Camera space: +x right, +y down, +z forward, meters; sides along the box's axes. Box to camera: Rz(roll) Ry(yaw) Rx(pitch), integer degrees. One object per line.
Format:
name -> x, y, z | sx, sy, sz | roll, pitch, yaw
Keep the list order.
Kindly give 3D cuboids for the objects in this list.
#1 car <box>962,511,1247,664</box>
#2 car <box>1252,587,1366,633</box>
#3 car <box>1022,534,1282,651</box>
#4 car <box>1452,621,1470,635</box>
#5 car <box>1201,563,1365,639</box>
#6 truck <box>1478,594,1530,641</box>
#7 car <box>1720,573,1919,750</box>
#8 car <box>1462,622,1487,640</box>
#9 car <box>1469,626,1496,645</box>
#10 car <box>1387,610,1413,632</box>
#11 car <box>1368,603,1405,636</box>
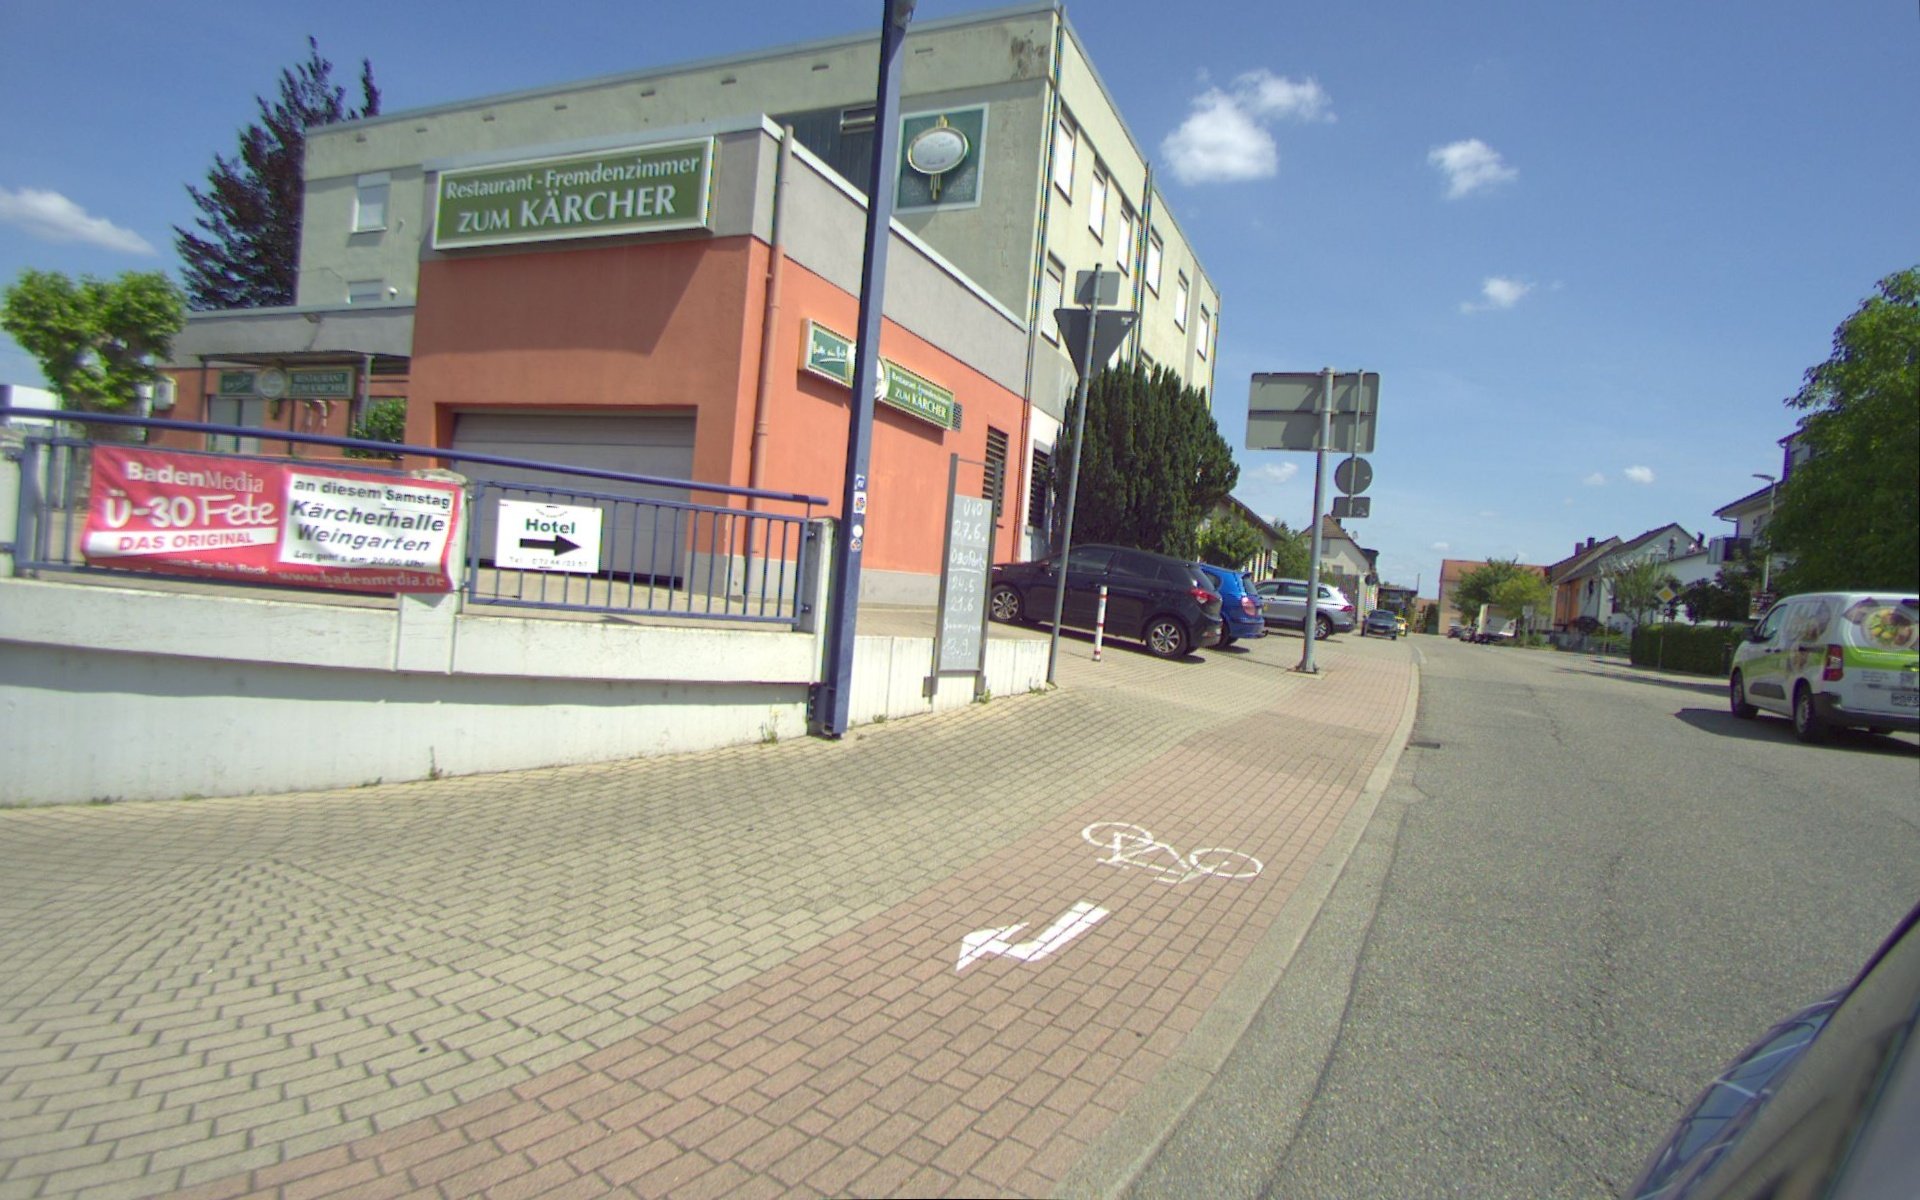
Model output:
car -> 2.229, -0.246, 15.618 | 3.871, 1.506, 1.796 | 12, 5, 23
car -> 15.386, 0.436, 44.669 | 4.497, 1.471, 1.901 | 7, 2, 25
car -> 3.506, -0.199, 18.597 | 4.294, 1.456, 1.766 | 9, 5, 24
car -> 63.161, 3.465, 127.649 | 1.704, 1.518, 4.181 | 8, 2, 23
car -> 9.693, 0.017, 30.365 | 4.421, 1.717, 1.908 | 7, 2, 23
truck -> 43.541, 1.421, 81.232 | 2.419, 3.284, 6.984 | 9, 2, 21
car -> 11.467, 0.689, 12.932 | 1.799, 1.878, 4.520 | 3, 1, 25
car -> 50.939, 3.086, 100.206 | 1.704, 1.518, 4.181 | 8, 2, 23
car -> 48.590, 3.267, 94.154 | 1.704, 1.518, 4.181 | 8, 2, 23
car -> 34.807, 1.691, 80.055 | 1.705, 1.414, 4.179 | 9, 2, 24
car -> 22.439, 1.002, 53.278 | 1.615, 1.507, 4.107 | 6, 1, 22
